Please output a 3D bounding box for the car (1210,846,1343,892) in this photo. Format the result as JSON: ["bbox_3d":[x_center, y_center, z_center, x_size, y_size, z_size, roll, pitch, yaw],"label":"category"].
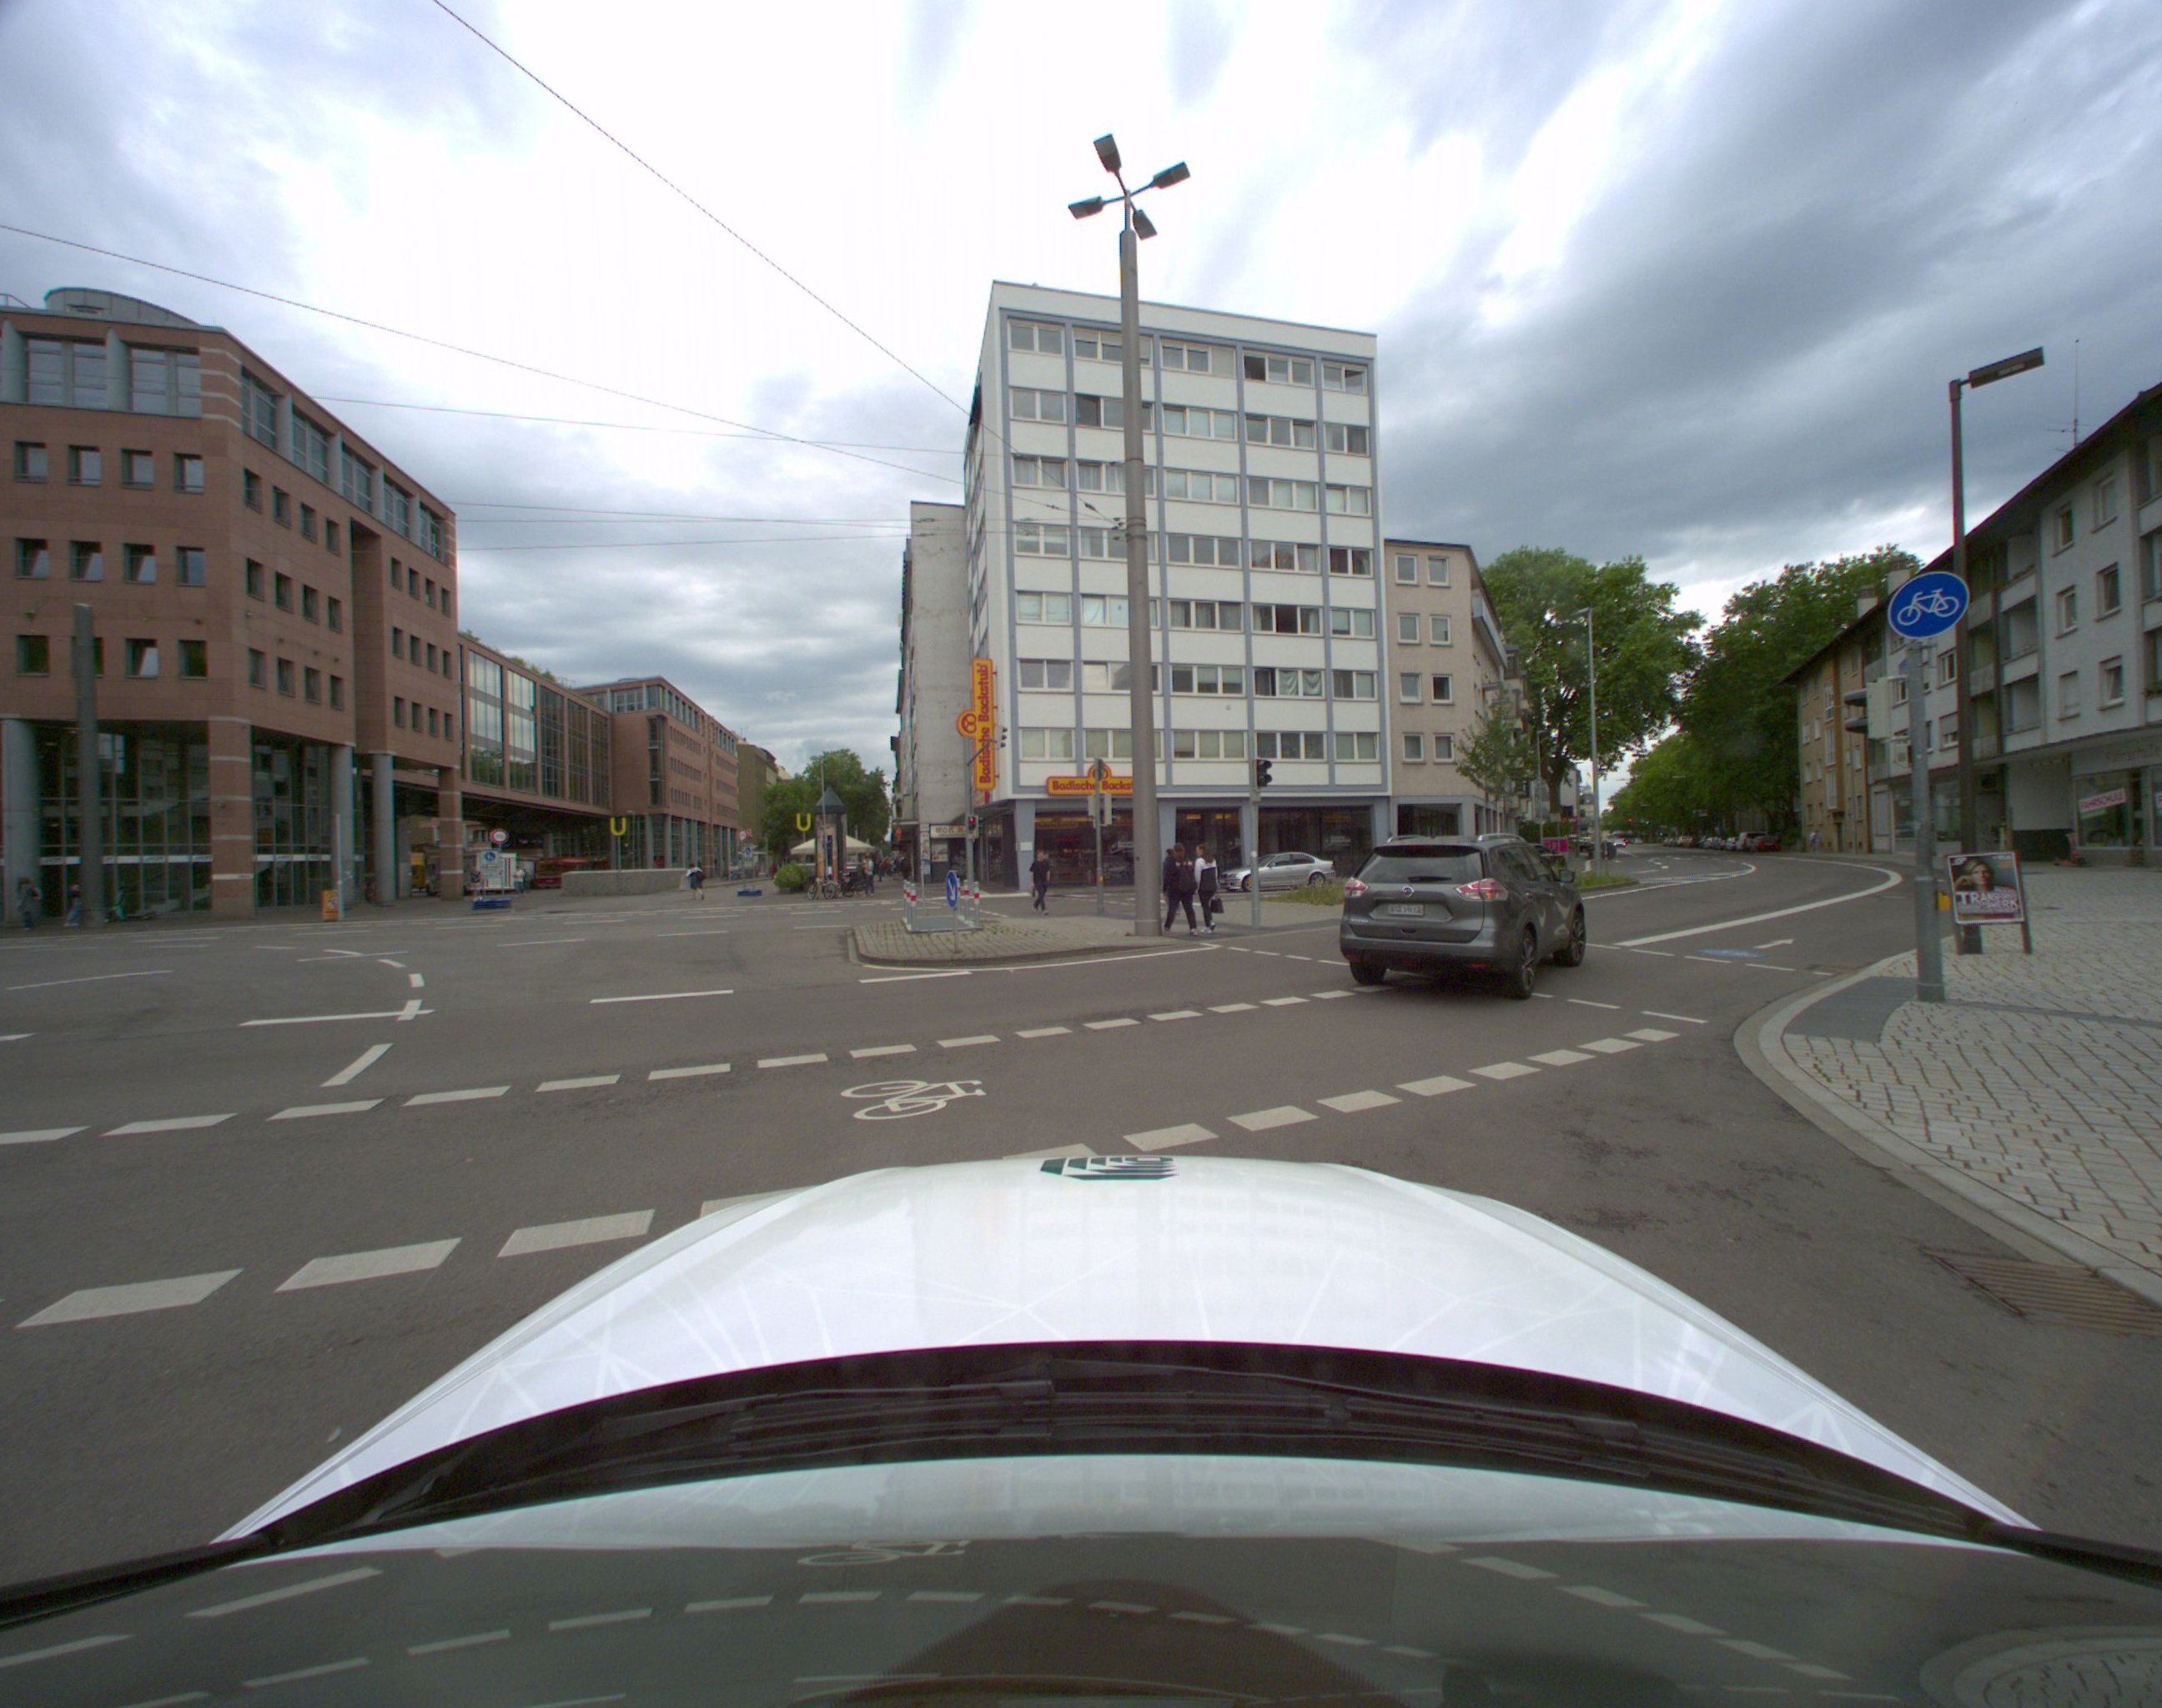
[{"bbox_3d":[7.322,0.540,30.537,4.561,1.481,1.739,-2,0,-16],"label":"car"}]

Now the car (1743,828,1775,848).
[{"bbox_3d":[62.495,-1.487,75.167,1.845,1.774,4.009,0,1,34],"label":"car"}]

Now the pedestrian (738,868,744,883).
[{"bbox_3d":[-37.924,2.391,90.803,0.602,1.714,0.651,0,-1,-21],"label":"pedestrian"}]

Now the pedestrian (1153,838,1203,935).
[{"bbox_3d":[1.798,0.589,15.195,0.623,1.761,0.774,0,-1,-21],"label":"pedestrian"}]

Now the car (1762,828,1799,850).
[{"bbox_3d":[58.778,-1.286,68.476,1.845,1.774,4.009,0,1,34],"label":"car"}]

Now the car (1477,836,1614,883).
[{"bbox_3d":[16.942,0.182,29.710,4.566,1.481,1.737,-2,0,-19],"label":"car"}]

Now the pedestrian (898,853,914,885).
[{"bbox_3d":[-9.305,0.783,43.328,0.708,1.705,0.734,-1,-1,-1],"label":"pedestrian"}]

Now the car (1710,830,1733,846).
[{"bbox_3d":[76.299,-1.896,97.013,1.845,1.774,4.009,0,1,34],"label":"car"}]

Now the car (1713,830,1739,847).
[{"bbox_3d":[70.163,-1.659,88.663,1.845,1.774,4.009,0,1,34],"label":"car"}]

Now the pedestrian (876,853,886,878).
[{"bbox_3d":[-14.098,0.819,57.437,0.643,1.705,0.556,-1,-1,-13],"label":"pedestrian"}]

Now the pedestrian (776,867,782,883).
[{"bbox_3d":[-33.046,2.326,89.106,0.602,1.714,0.651,0,-1,-21],"label":"pedestrian"}]

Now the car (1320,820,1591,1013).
[{"bbox_3d":[4.736,0.539,9.869,1.845,1.774,4.596,0,1,40],"label":"car"}]

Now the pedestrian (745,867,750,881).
[{"bbox_3d":[-40.382,2.459,98.604,0.602,1.714,0.651,0,-1,-21],"label":"pedestrian"}]

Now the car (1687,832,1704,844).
[{"bbox_3d":[94.664,-2.400,125.488,1.845,1.774,4.009,0,1,34],"label":"car"}]

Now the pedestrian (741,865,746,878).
[{"bbox_3d":[-43.184,2.238,104.149,0.602,1.714,0.651,0,-1,-21],"label":"pedestrian"}]

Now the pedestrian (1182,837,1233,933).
[{"bbox_3d":[2.385,0.577,15.417,0.623,1.761,0.774,0,-1,-21],"label":"pedestrian"}]

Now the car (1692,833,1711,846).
[{"bbox_3d":[85.675,-1.980,112.414,1.845,1.774,4.009,0,1,34],"label":"car"}]

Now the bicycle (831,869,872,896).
[{"bbox_3d":[-10.110,1.238,35.817,1.702,1.172,0.434,0,-1,-21],"label":"bicycle"}]

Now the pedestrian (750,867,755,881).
[{"bbox_3d":[-40.582,2.489,100.631,0.602,1.714,0.651,0,-1,-21],"label":"pedestrian"}]

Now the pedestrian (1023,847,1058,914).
[{"bbox_3d":[-1.148,0.726,22.921,0.715,1.832,1.010,0,-1,-21],"label":"pedestrian"}]

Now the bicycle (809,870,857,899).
[{"bbox_3d":[-10.647,1.293,34.976,1.878,1.172,0.526,0,-1,-28],"label":"bicycle"}]

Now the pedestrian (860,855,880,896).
[{"bbox_3d":[-9.071,0.910,35.042,0.735,1.746,0.658,0,-1,-21],"label":"pedestrian"}]

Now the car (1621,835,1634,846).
[{"bbox_3d":[92.775,-2.360,138.345,1.845,1.774,4.009,0,1,34],"label":"car"}]

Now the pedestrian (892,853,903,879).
[{"bbox_3d":[-13.202,0.857,58.564,0.739,1.821,0.659,-2,0,-16],"label":"pedestrian"}]

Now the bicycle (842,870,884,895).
[{"bbox_3d":[-9.448,1.228,35.371,1.694,1.065,0.436,-1,-1,-8],"label":"bicycle"}]

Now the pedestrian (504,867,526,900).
[{"bbox_3d":[-31.875,1.669,45.858,0.696,1.842,0.736,-1,-1,6],"label":"pedestrian"}]

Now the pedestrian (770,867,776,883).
[{"bbox_3d":[-33.663,2.331,88.889,0.602,1.714,0.651,0,-1,-21],"label":"pedestrian"}]

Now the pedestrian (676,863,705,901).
[{"bbox_3d":[-17.807,1.265,37.150,0.921,1.705,0.736,-1,-1,6],"label":"pedestrian"}]

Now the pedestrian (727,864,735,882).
[{"bbox_3d":[-30.522,1.675,70.977,0.602,1.536,0.651,0,-1,-21],"label":"pedestrian"}]

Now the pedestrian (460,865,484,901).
[{"bbox_3d":[-31.507,1.482,42.142,0.700,1.842,0.732,-1,-1,-8],"label":"pedestrian"}]

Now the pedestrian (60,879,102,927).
[{"bbox_3d":[-33.296,1.619,27.123,0.748,1.561,0.567,0,-3,-40],"label":"pedestrian"}]

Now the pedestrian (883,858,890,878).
[{"bbox_3d":[-16.734,1.161,70.061,0.612,1.705,0.617,-1,-1,-13],"label":"pedestrian"}]
